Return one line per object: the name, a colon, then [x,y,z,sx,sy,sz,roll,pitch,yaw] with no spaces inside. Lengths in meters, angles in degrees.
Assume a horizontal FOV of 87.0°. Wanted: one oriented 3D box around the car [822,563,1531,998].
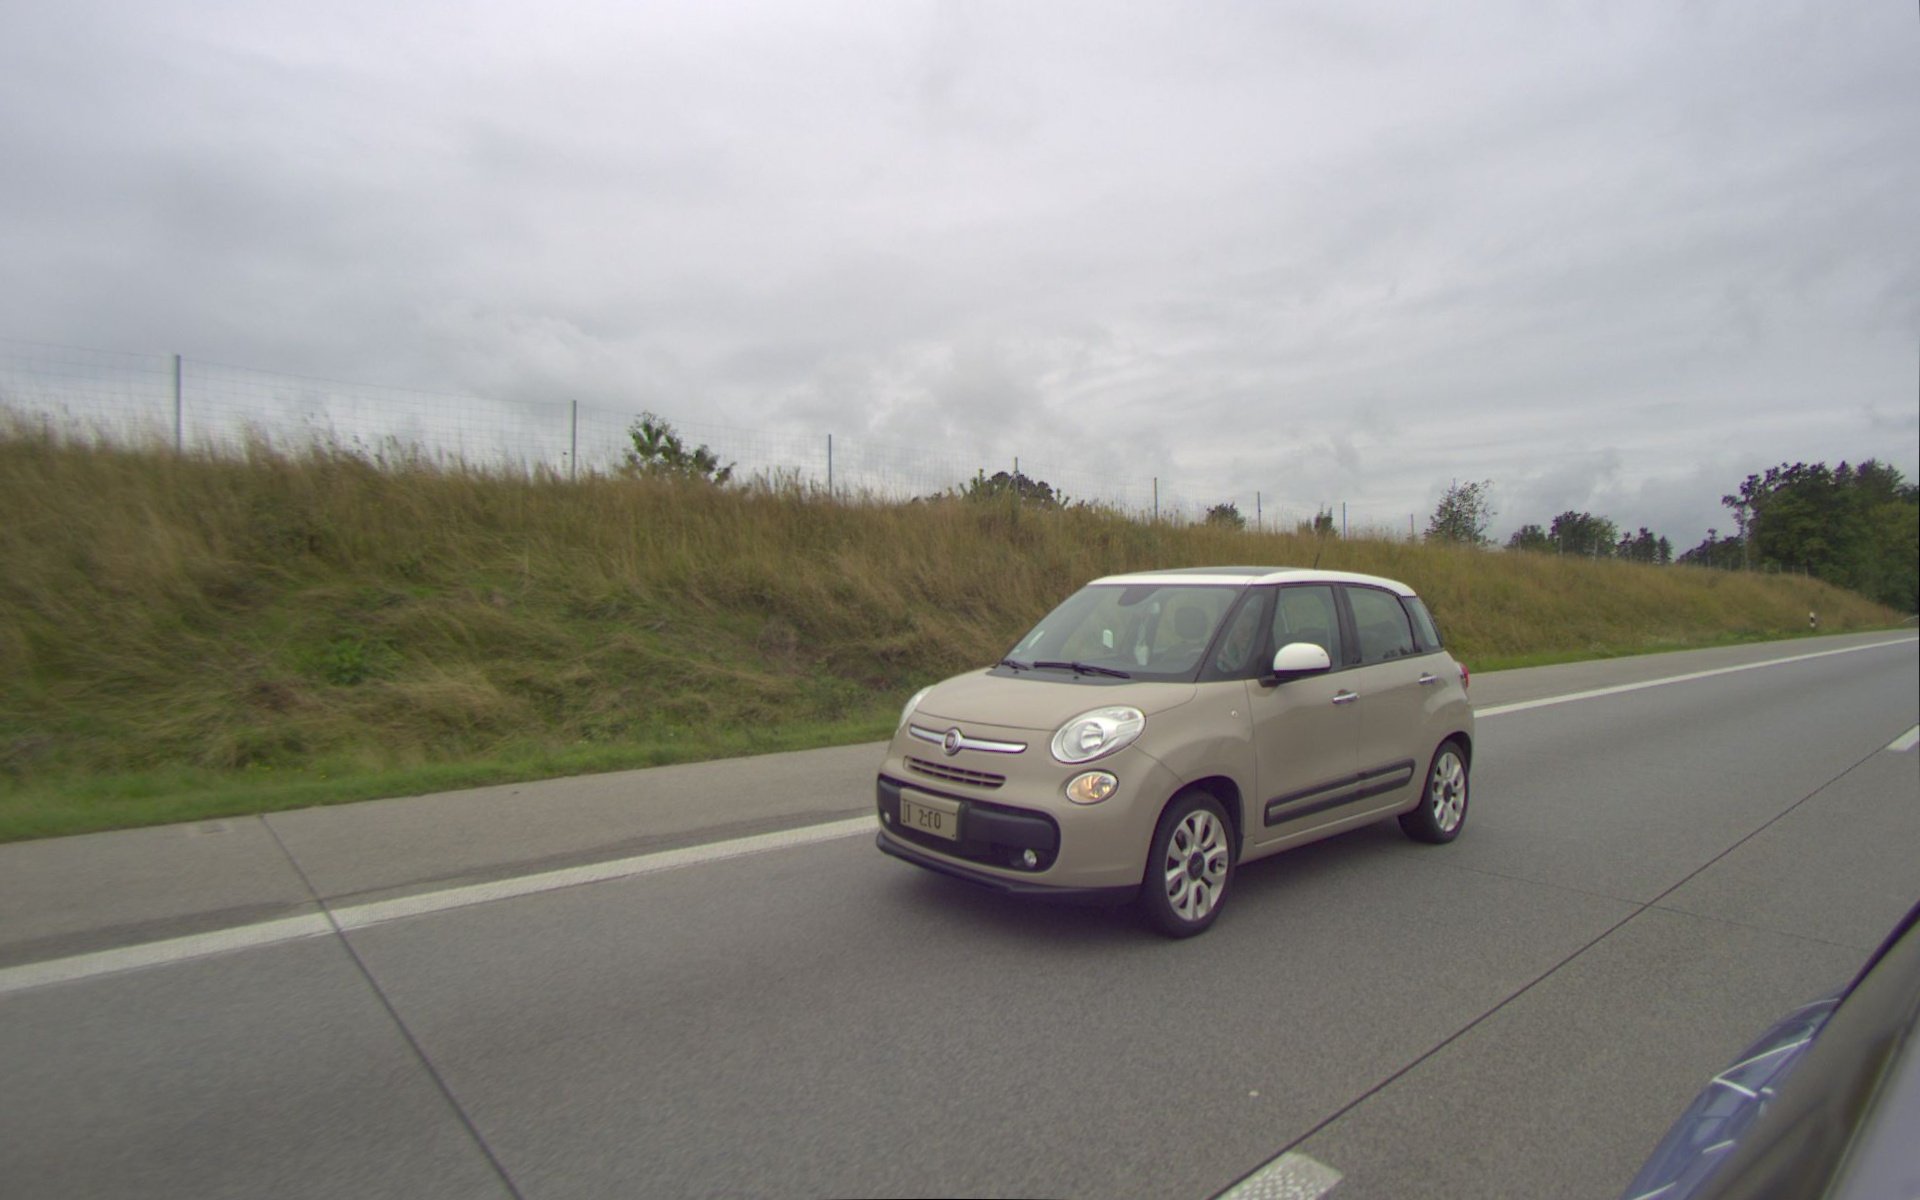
car: [1.561,0.674,5.955,4.491,1.625,1.788,0,0,-42]
